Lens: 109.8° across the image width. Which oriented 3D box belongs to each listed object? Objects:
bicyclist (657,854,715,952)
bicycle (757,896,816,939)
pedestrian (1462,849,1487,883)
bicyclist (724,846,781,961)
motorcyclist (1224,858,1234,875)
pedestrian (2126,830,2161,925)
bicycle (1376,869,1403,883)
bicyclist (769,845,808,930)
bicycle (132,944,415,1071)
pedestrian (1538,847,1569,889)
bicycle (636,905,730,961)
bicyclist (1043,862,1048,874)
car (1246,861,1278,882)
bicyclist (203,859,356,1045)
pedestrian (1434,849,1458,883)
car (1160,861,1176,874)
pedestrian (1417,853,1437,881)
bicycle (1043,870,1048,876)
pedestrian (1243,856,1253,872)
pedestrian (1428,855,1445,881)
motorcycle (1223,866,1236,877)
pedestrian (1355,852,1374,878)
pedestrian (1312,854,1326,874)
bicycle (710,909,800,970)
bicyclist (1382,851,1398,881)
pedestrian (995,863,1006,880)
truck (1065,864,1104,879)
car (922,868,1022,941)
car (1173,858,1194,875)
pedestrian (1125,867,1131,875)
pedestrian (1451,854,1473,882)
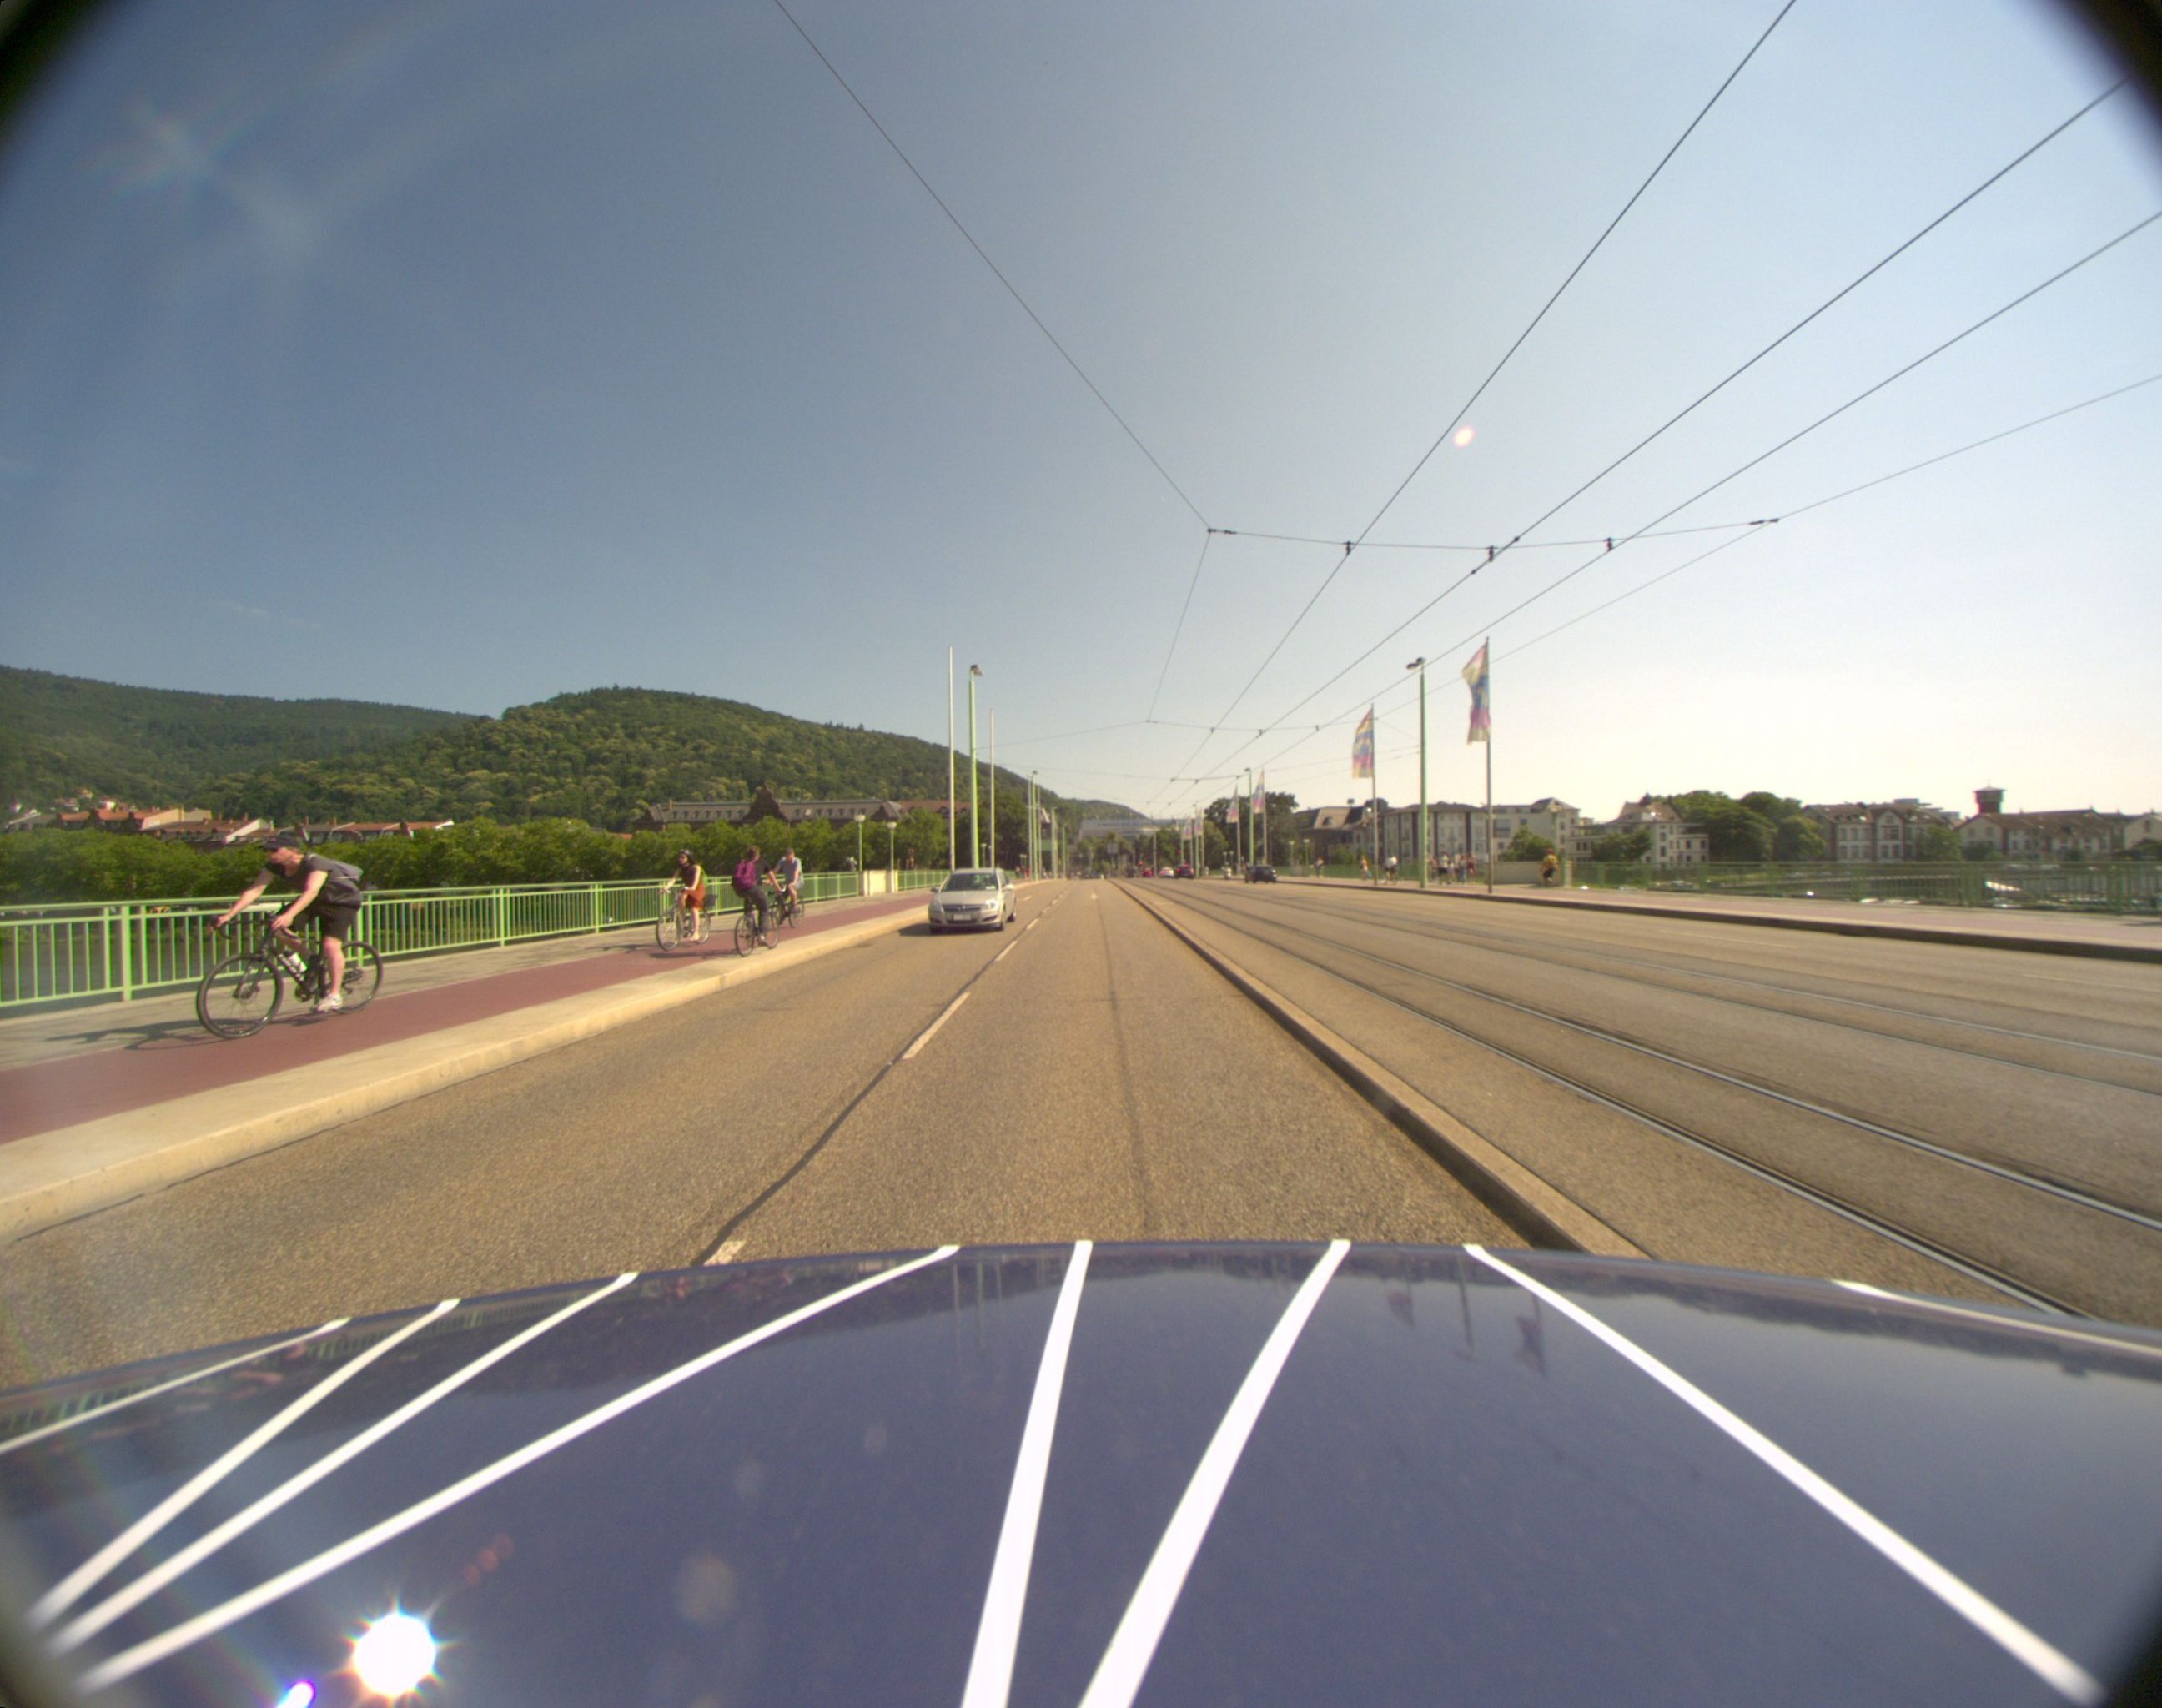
[{"bbox_3d":[-6.761,0.814,13.035,0.606,1.641,0.702,0,1,2],"label":"bicyclist"},{"bbox_3d":[-6.305,1.339,16.375,0.595,0.761,1.866,0,0,-1],"label":"bicycle"},{"bbox_3d":[20.117,0.596,38.860,0.686,1.680,1.022,-3,0,1],"label":"pedestrian"},{"bbox_3d":[-5.152,0.762,11.957,0.587,1.759,0.672,0,0,2],"label":"bicyclist"},{"bbox_3d":[14.304,1.201,73.547,0.739,1.504,0.729,-5,0,0],"label":"motorcyclist"},{"bbox_3d":[19.643,0.418,13.539,0.592,1.689,1.022,-3,0,1],"label":"pedestrian"},{"bbox_3d":[17.098,1.226,42.167,0.667,0.712,2.173,-1,0,1],"label":"bicycle"},{"bbox_3d":[-6.305,0.711,16.415,0.588,1.809,0.702,0,1,-1],"label":"bicyclist"},{"bbox_3d":[-7.033,1.293,6.778,0.595,0.761,1.831,0,0,-1],"label":"bicycle"},{"bbox_3d":[19.831,0.571,31.918,0.592,1.689,1.022,-3,0,1],"label":"pedestrian"},{"bbox_3d":[-6.767,1.317,13.033,0.595,0.761,1.867,0,0,1],"label":"bicycle"},{"bbox_3d":[-5.010,1.967,107.493,0.731,1.655,0.844,-1,0,2],"label":"bicyclist"},{"bbox_3d":[14.001,1.332,58.967,1.672,1.428,4.000,0,0,2],"label":"car"},{"bbox_3d":[-7.030,0.826,6.697,0.588,1.549,0.702,0,1,-1],"label":"bicyclist"},{"bbox_3d":[18.746,0.597,39.063,0.671,1.689,1.022,-3,0,1],"label":"pedestrian"},{"bbox_3d":[11.730,1.821,102.654,1.814,1.611,4.000,-5,0,2],"label":"car"},{"bbox_3d":[19.724,0.740,43.363,0.627,1.590,1.022,-3,0,1],"label":"pedestrian"},{"bbox_3d":[-5.001,2.676,107.502,0.595,0.761,1.867,0,0,1],"label":"bicycle"},{"bbox_3d":[18.552,1.112,84.407,0.787,1.689,1.022,-3,0,1],"label":"pedestrian"},{"bbox_3d":[20.380,0.784,43.534,0.547,1.429,0.789,-3,0,1],"label":"pedestrian"},{"bbox_3d":[14.344,1.694,73.497,0.735,0.884,2.145,-5,0,1],"label":"motorcycle"},{"bbox_3d":[19.074,0.753,51.157,0.787,1.689,1.022,-3,0,1],"label":"pedestrian"},{"bbox_3d":[20.289,0.863,64.691,0.787,1.689,1.022,-3,0,1],"label":"pedestrian"},{"bbox_3d":[-5.141,1.320,12.103,0.595,0.761,1.867,0,0,1],"label":"bicycle"},{"bbox_3d":[17.084,0.671,42.019,0.666,1.641,0.622,-1,0,2],"label":"bicyclist"},{"bbox_3d":[-7.901,1.699,74.529,0.949,1.653,1.082,1,0,1],"label":"pedestrian"},{"bbox_3d":[0.772,3.608,156.534,7.683,2.248,2.663,-5,0,5],"label":"truck"},{"bbox_3d":[-2.544,1.140,18.702,1.710,1.457,4.326,-2,0,1],"label":"car"},{"bbox_3d":[11.221,1.374,83.218,1.714,1.686,4.000,-5,0,2],"label":"car"},{"bbox_3d":[11.942,4.343,194.116,1.199,2.002,1.037,-1,2,36],"label":"pedestrian"},{"bbox_3d":[19.523,0.709,38.968,0.592,1.406,1.022,-3,0,1],"label":"pedestrian"}]
